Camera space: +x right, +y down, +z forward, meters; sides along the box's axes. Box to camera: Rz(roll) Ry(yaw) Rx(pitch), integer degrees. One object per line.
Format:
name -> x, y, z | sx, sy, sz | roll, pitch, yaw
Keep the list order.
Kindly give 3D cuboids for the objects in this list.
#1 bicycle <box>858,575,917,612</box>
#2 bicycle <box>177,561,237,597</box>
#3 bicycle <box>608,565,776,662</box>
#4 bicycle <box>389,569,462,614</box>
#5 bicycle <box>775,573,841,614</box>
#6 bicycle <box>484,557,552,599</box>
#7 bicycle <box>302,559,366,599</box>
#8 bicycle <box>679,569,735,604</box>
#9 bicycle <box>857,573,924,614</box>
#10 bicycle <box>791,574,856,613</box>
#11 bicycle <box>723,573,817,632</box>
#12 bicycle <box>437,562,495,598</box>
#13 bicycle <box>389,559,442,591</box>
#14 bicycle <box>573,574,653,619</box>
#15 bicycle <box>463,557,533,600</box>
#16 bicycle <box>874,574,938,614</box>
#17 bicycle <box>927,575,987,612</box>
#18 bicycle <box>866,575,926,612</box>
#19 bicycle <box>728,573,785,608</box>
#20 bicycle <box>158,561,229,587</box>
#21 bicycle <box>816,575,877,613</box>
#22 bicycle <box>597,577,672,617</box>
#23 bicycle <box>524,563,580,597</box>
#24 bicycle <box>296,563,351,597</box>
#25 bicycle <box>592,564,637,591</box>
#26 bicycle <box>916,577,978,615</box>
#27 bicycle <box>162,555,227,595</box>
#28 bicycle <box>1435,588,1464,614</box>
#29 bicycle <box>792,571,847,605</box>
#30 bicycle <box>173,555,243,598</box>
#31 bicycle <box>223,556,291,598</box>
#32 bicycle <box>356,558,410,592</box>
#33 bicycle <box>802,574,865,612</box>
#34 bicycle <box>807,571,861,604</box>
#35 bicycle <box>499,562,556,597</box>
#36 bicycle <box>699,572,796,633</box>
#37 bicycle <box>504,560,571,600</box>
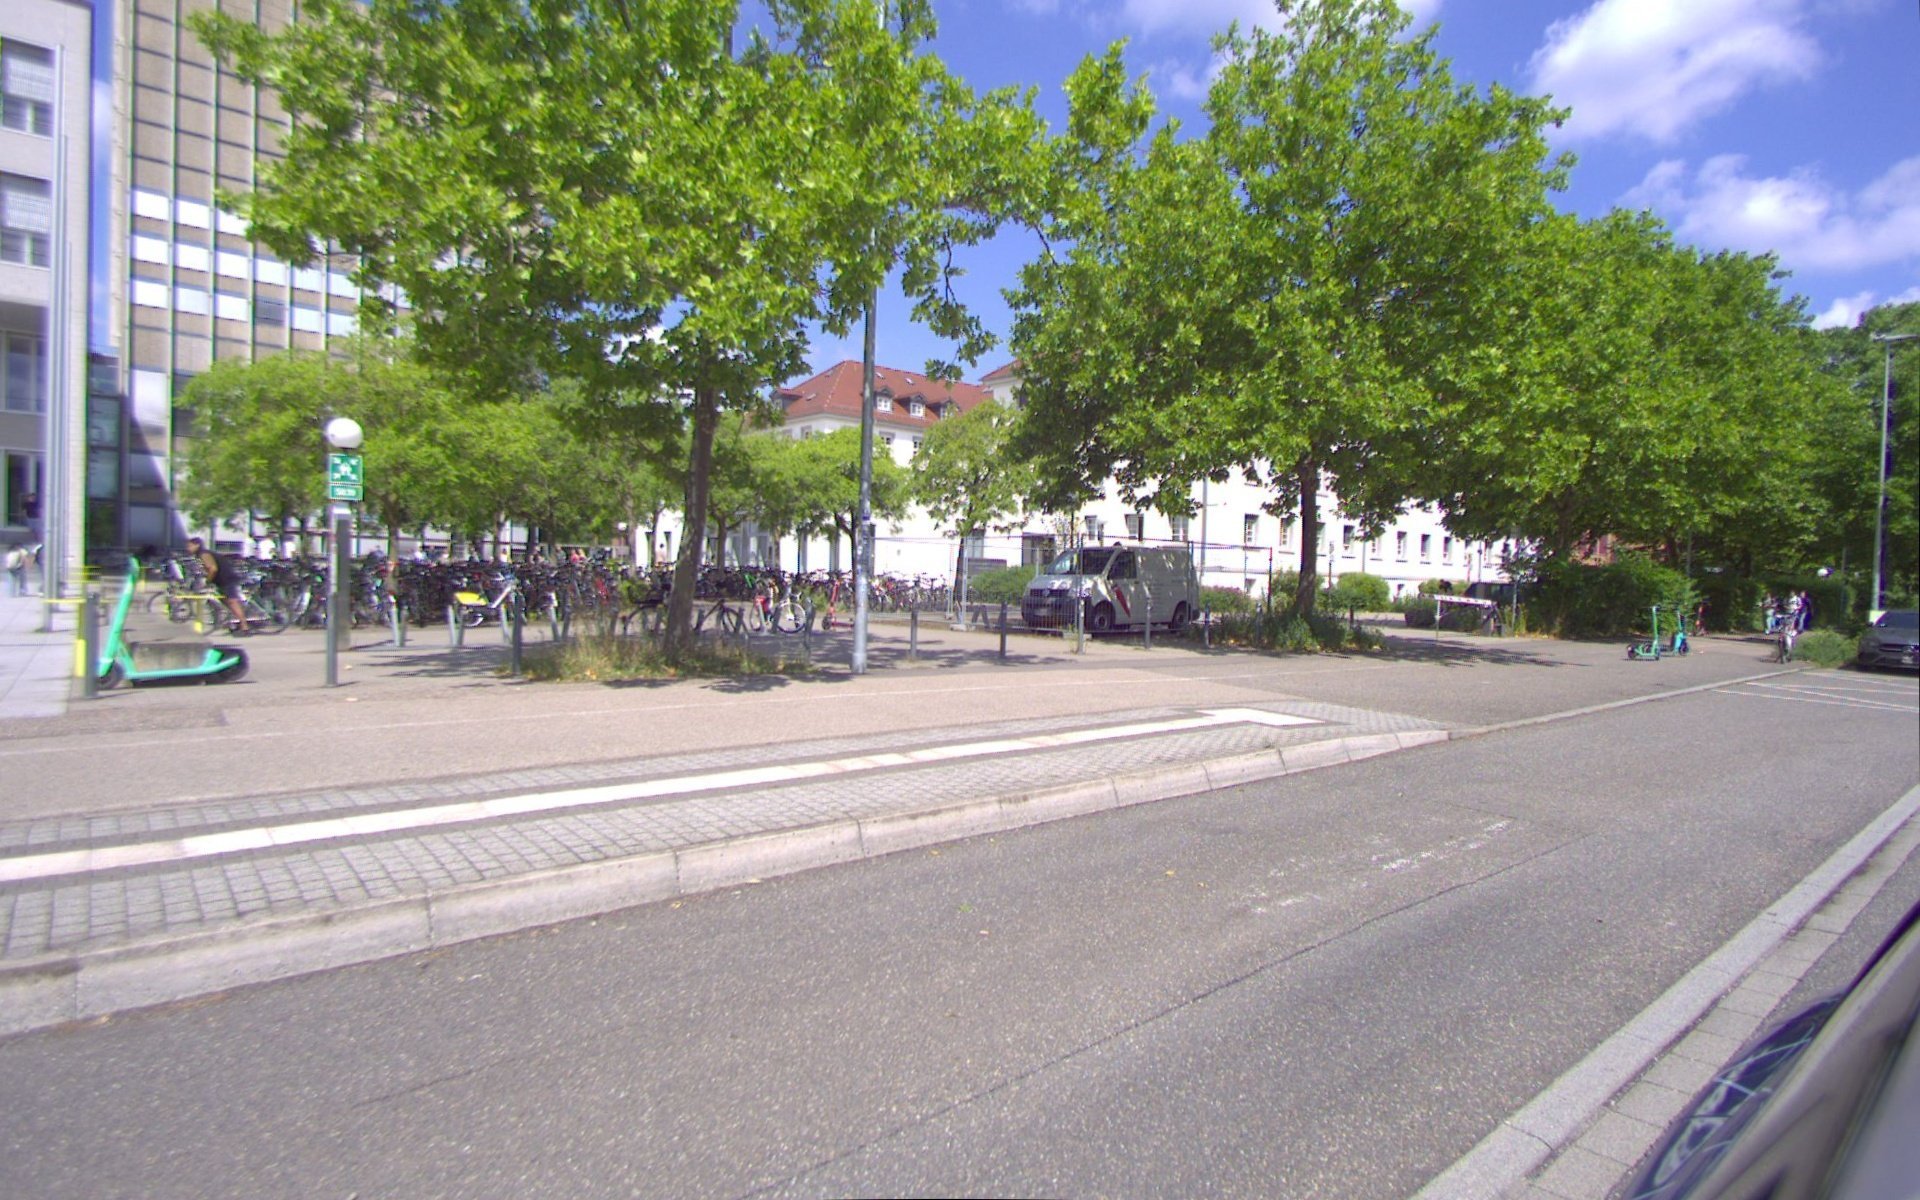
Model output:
bicycle -> -2.185, -0.193, 30.527 | 1.744, 1.113, 0.513 | 0, 0, 18
bicycle -> -23.267, -0.646, 31.256 | 1.744, 1.113, 0.600 | 0, 0, 18
bicycle -> -3.509, 0.165, 13.315 | 1.990, 1.198, 0.801 | 0, 0, -30
bicycle -> -13.571, -0.210, 25.694 | 1.744, 1.113, 0.600 | 0, 0, 18
bicycle -> -4.218, -0.183, 28.165 | 1.744, 1.113, 0.600 | 0, 0, 19
bicycle -> -11.941, -0.589, 27.340 | 1.744, 1.113, 0.600 | 0, 0, 18
bicycle -> -18.135, -0.604, 29.317 | 1.744, 1.113, 0.600 | 0, 0, 18
bicycle -> -8.213, -0.441, 32.838 | 1.744, 1.113, 0.600 | 0, 0, 18
bicycle -> -1.921, -0.177, 28.024 | 1.744, 1.113, 0.600 | 0, 0, 19
bicycle -> -3.904, -0.188, 28.956 | 1.744, 1.113, 0.600 | 0, 0, 19
bicycle -> -3.704, 0.034, 19.711 | 1.744, 1.113, 0.600 | 0, 0, 19
bicycle -> -15.790, -0.634, 32.344 | 1.744, 1.113, 0.600 | 0, 0, 18
bicycle -> -19.108, -0.860, 35.514 | 1.744, 1.113, 0.600 | 0, 0, 18
bicycle -> -8.076, -0.082, 23.570 | 1.745, 0.966, 0.600 | 2, 1, 19
bicycle -> -12.189, -0.555, 26.696 | 1.744, 1.113, 0.600 | 0, 0, 18
bicycle -> -1.560, -0.182, 29.003 | 1.744, 1.113, 0.600 | 0, 0, 19
bicycle -> -0.104, -0.191, 31.026 | 1.744, 1.113, 0.600 | 0, 0, 18
bicycle -> -1.959, -0.196, 31.099 | 1.744, 1.113, 0.589 | 0, 0, 18
bicycle -> -6.477, -0.308, 32.200 | 1.744, 1.113, 0.600 | 0, 0, 18
bicycle -> -24.516, -0.838, 32.385 | 0.517, 0.802, 1.745 | 2, 2, 36
bicycle -> -3.393, -0.195, 30.282 | 1.744, 1.113, 0.600 | 0, 0, 19
bicycle -> -7.829, -0.080, 24.334 | 1.745, 0.879, 0.481 | 2, 1, 19
bicycle -> -13.414, -0.653, 33.264 | 1.744, 1.113, 0.600 | 0, 0, 18
bicycle -> -21.253, -0.657, 33.792 | 1.744, 1.113, 0.600 | 0, 0, 18
bicycle -> -14.314, -0.922, 41.950 | 1.744, 1.113, 0.600 | 0, 0, 18
bicycle -> -0.378, -0.116, 29.755 | 1.744, 1.113, 0.600 | 0, 0, 18
bicycle -> -21.587, -0.699, 28.536 | 1.744, 1.113, 0.600 | 0, 0, 18
bicycle -> 22.006, 0.033, 45.511 | 1.561, 1.151, 0.607 | 0, 3, -43
bicycle -> -4.707, -0.411, 33.801 | 1.744, 1.113, 0.600 | 0, 0, 18
bicycle -> -19.847, -0.618, 26.702 | 1.744, 1.113, 0.600 | 0, 0, 18
bicycle -> -19.051, -0.611, 27.422 | 1.744, 1.113, 0.600 | 0, 0, 18
bicycle -> -19.590, -0.846, 34.357 | 1.744, 1.113, 0.600 | 0, 0, 18
bicycle -> -3.713, -0.206, 29.649 | 1.744, 1.113, 0.600 | 0, 0, 19
bicycle -> -4.278, -0.431, 34.369 | 1.744, 1.113, 0.600 | 0, 0, 18
bicycle -> -13.902, -0.649, 32.522 | 1.744, 1.113, 0.600 | 0, 0, 18
bicycle -> -4.009, 0.048, 19.083 | 1.744, 1.113, 0.600 | 0, 0, 19
bicycle -> -11.753, -0.552, 28.155 | 1.744, 1.113, 0.600 | 0, 0, 18
